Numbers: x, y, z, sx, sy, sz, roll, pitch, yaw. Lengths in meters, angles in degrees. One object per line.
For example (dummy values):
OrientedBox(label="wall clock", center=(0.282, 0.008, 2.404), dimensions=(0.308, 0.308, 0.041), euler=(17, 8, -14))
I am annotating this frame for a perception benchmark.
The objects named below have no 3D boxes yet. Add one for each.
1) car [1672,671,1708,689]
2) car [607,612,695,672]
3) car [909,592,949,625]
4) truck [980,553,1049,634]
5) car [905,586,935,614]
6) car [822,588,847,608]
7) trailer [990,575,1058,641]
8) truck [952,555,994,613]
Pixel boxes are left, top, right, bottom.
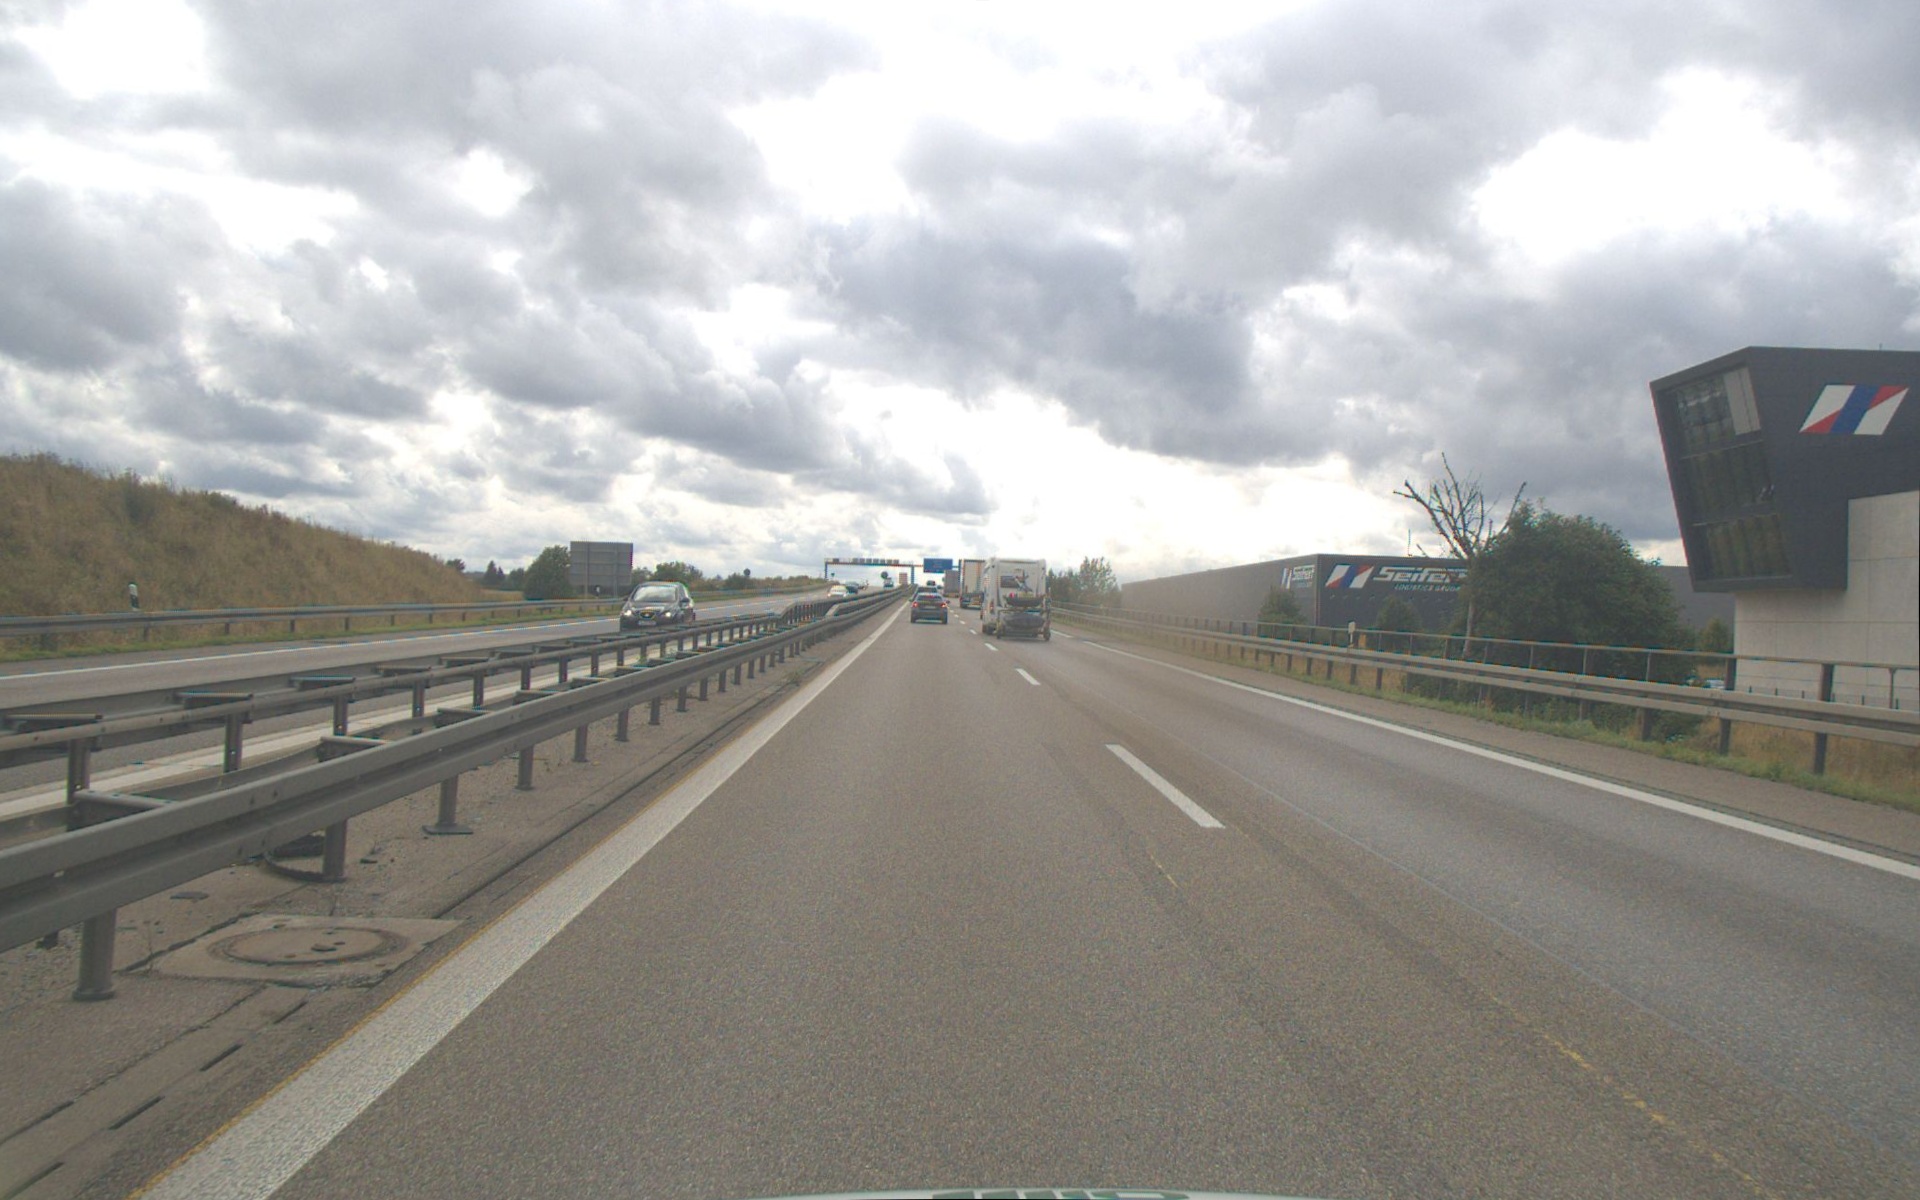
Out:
OrientedBox(label="car", center=(70.518, 7.719, 159.795), dimensions=(1.641, 1.520, 3.999), euler=(3, 0, -1))
OrientedBox(label="car", center=(-8.873, 1.179, 47.760), dimensions=(1.804, 1.604, 3.999), euler=(1, -1, -1))
OrientedBox(label="car", center=(-1.475, 0.424, 80.004), dimensions=(1.710, 1.478, 4.000), euler=(1, -1, 1))
OrientedBox(label="truck", center=(2.107, -0.217, 65.423), dimensions=(2.431, 3.002, 5.813), euler=(1, -1, -1))
OrientedBox(label="car", center=(-2.607, 0.020, 108.121), dimensions=(1.854, 1.803, 3.920), euler=(1, -1, -1))
OrientedBox(label="car", center=(-10.664, -0.151, 140.625), dimensions=(1.868, 1.539, 4.728), euler=(1, -1, -1))
OrientedBox(label="trailer", center=(2.228, 0.300, 58.267), dimensions=(2.290, 2.174, 4.000), euler=(1, -1, 1))
OrientedBox(label="truck", center=(1.030, -1.259, 138.775), dimensions=(3.271, 4.613, 8.015), euler=(1, -1, -1))
